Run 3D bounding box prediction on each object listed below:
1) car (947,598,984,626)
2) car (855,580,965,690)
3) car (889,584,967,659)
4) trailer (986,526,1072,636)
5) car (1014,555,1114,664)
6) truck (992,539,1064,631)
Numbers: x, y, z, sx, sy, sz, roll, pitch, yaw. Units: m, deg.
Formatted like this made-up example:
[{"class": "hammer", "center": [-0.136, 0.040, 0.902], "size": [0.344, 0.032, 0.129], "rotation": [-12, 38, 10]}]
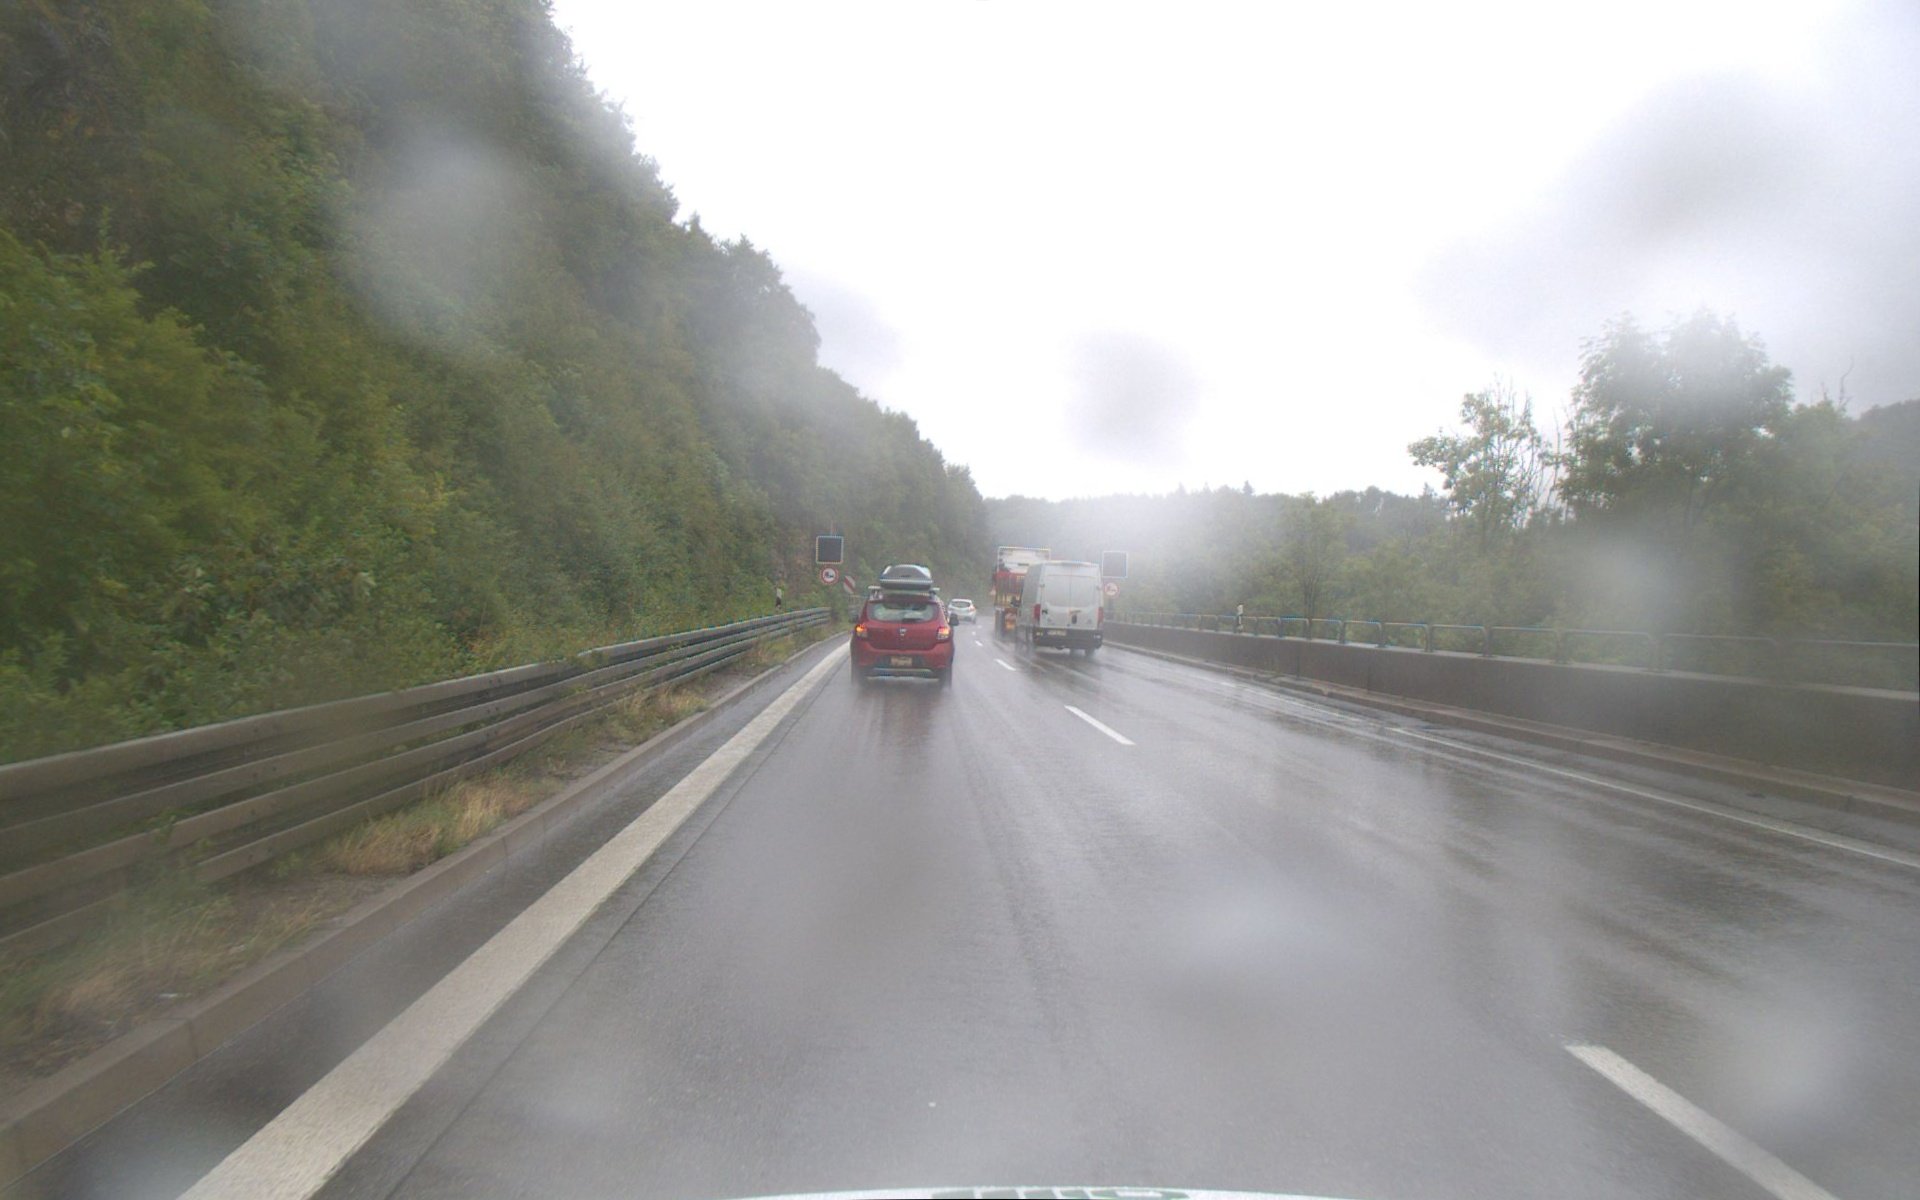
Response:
[{"class": "car", "center": [0.331, 0.731, 100.091], "size": [1.951, 1.668, 4.002], "rotation": [-1, -1, 4]}, {"class": "car", "center": [-0.843, 0.573, 28.324], "size": [1.722, 1.714, 3.999], "rotation": [-1, -1, -1]}, {"class": "car", "center": [-0.783, 0.528, 40.816], "size": [1.795, 1.745, 3.644], "rotation": [-1, -1, -1]}, {"class": "trailer", "center": [2.842, -0.689, 69.038], "size": [3.151, 4.069, 13.527], "rotation": [1, 0, 2]}, {"class": "car", "center": [2.914, 0.244, 48.278], "size": [2.161, 2.843, 7.380], "rotation": [3, 0, -1]}, {"class": "truck", "center": [3.167, -0.663, 76.485], "size": [3.152, 4.047, 5.440], "rotation": [1, 0, 3]}]
